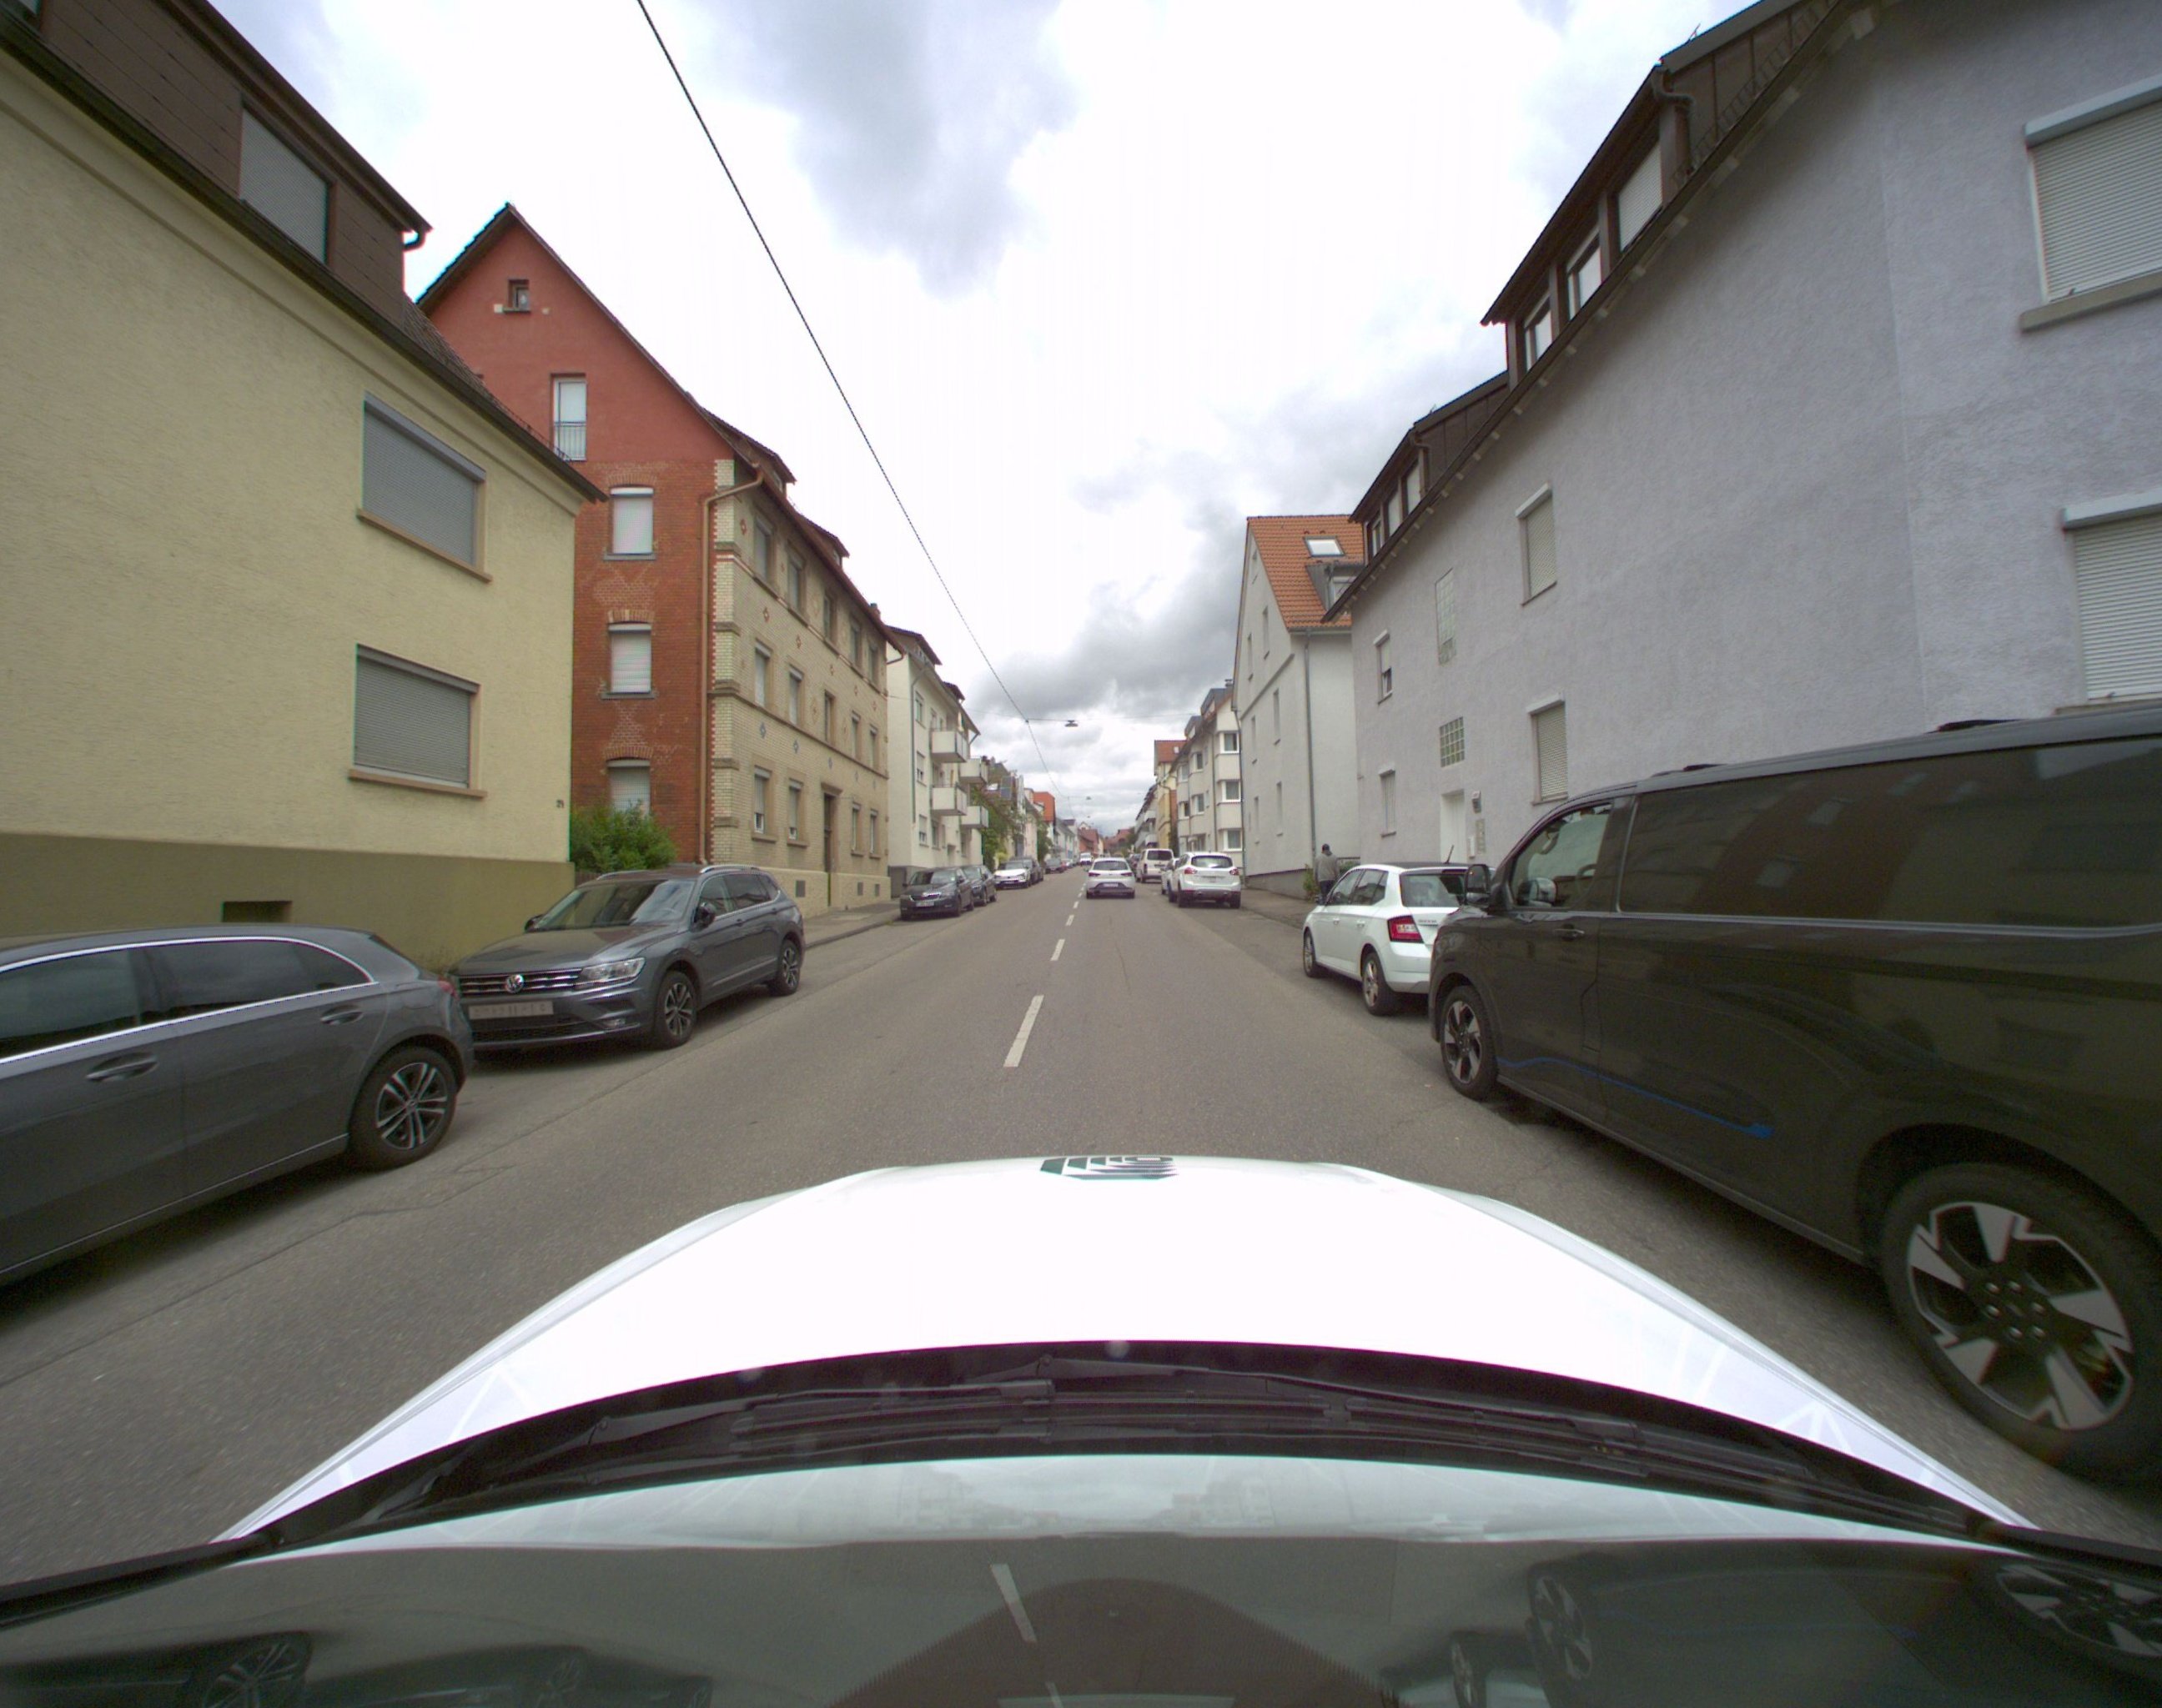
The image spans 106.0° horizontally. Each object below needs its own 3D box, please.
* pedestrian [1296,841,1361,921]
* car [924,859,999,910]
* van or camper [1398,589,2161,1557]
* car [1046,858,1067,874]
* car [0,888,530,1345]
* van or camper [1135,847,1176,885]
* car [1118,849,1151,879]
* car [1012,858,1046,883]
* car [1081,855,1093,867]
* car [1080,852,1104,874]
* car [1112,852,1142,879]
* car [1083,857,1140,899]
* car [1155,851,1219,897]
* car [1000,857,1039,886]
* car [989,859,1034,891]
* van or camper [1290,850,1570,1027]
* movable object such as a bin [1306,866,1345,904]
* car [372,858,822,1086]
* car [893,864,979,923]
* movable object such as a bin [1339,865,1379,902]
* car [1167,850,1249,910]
[{"bbox_3d":[5.776,0.605,19.103,0.973,1.739,1.534,-4,0,2],"label":"pedestrian"},{"bbox_3d":[-4.209,1.017,29.251,1.986,1.651,4.001,-1,0,1],"label":"car"},{"bbox_3d":[3.331,0.489,3.100,1.987,2.066,5.945,1,0,1],"label":"van or camper"},{"bbox_3d":[-2.655,1.234,88.477,1.986,1.651,4.180,-1,0,1],"label":"car"},{"bbox_3d":[-4.747,1.032,3.255,1.986,1.472,4.246,-4,0,2],"label":"car"},{"bbox_3d":[4.289,0.678,47.470,1.935,2.055,4.561,-1,0,-1],"label":"van or camper"},{"bbox_3d":[3.775,0.681,58.183,1.988,2.013,3.997,-2,0,-2],"label":"car"},{"bbox_3d":[-3.542,1.111,56.509,1.986,1.651,4.001,-1,0,1],"label":"car"},{"bbox_3d":[1.017,1.160,142.069,1.986,2.013,4.001,-2,0,1],"label":"car"},{"bbox_3d":[0.993,0.812,75.560,2.145,2.014,3.999,0,-1,0],"label":"car"},{"bbox_3d":[3.645,0.932,64.893,1.988,2.013,3.997,-2,0,-2],"label":"car"},{"bbox_3d":[1.073,0.840,29.990,1.934,1.439,4.000,-1,0,0],"label":"car"},{"bbox_3d":[4.106,0.742,32.104,1.935,1.693,3.998,-1,0,-1],"label":"car"},{"bbox_3d":[-3.721,1.066,49.953,1.986,1.651,4.001,-1,0,1],"label":"car"},{"bbox_3d":[-3.787,1.110,45.100,1.986,1.651,4.001,-1,0,1],"label":"car"},{"bbox_3d":[3.610,0.754,9.232,1.596,1.543,4.002,1,0,2],"label":"van or camper"},{"bbox_3d":[7.340,0.918,24.520,0.883,1.062,1.218,-1,0,6],"label":"movable object such as a bin"},{"bbox_3d":[-4.576,0.951,8.761,1.987,1.651,4.553,-4,0,0],"label":"car"},{"bbox_3d":[-4.240,1.119,24.462,1.636,1.473,4.180,-4,0,1],"label":"car"},{"bbox_3d":[8.302,0.866,24.380,0.883,1.062,1.218,-1,0,6],"label":"movable object such as a bin"},{"bbox_3d":[3.870,0.742,25.482,1.934,1.693,3.999,1,0,0],"label":"car"}]
